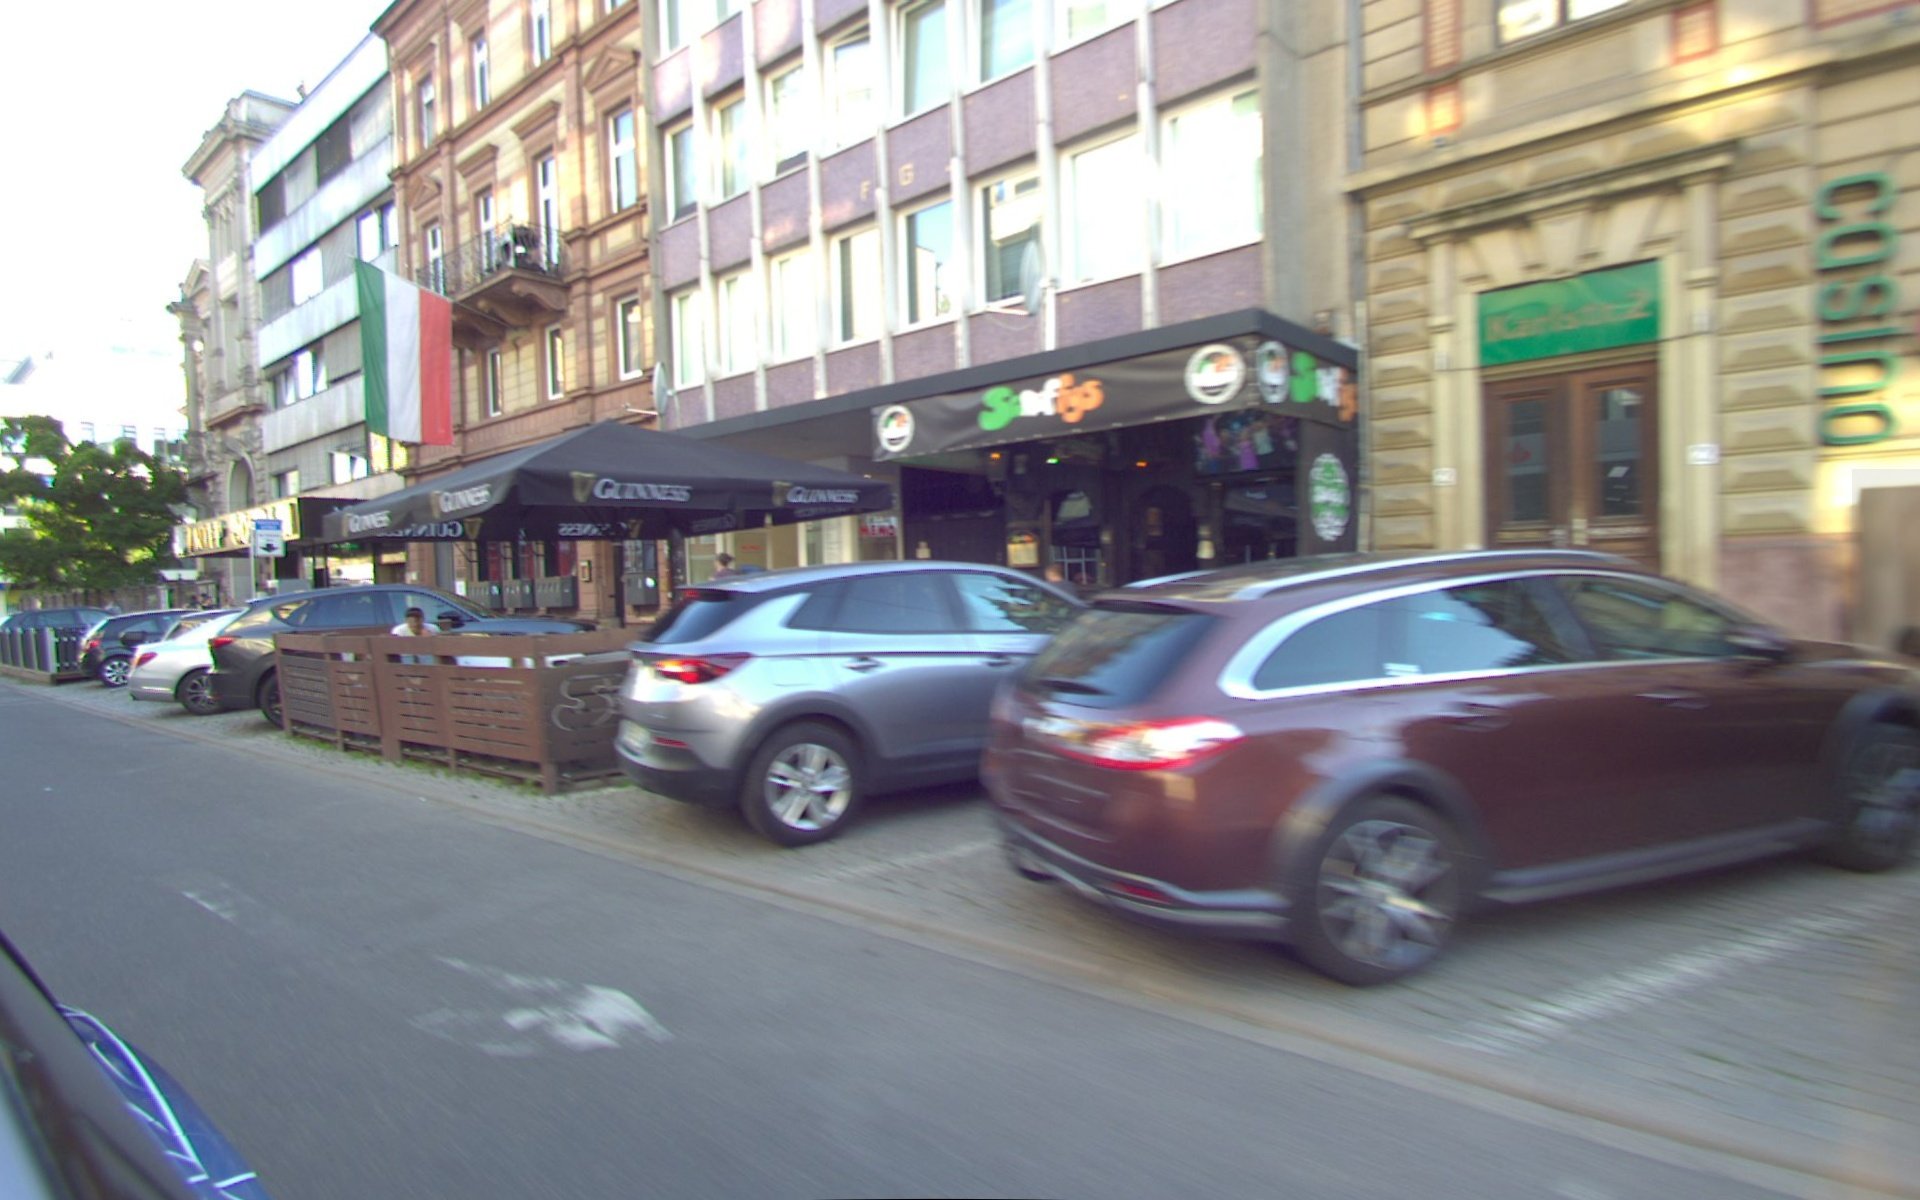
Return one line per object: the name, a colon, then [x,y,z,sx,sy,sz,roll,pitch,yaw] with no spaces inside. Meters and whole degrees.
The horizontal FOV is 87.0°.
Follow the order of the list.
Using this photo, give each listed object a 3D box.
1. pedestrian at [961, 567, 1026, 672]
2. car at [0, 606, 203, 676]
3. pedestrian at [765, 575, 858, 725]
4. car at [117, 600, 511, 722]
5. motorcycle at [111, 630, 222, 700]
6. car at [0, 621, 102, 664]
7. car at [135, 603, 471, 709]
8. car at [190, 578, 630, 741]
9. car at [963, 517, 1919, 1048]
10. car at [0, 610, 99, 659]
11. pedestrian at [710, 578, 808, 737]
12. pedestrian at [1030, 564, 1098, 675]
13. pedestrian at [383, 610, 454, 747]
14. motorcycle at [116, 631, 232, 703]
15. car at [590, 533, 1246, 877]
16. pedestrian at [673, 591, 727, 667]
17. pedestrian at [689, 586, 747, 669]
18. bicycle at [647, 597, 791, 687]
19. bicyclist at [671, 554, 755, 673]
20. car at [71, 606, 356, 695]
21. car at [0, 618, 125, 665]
pedestrian: [0.438,0.244,13.160,0.575,1.318,0.566,-2,0,42]
car: [-25.648,1.166,30.184,4.767,1.787,1.911,-2,0,-41]
pedestrian: [-1.478,0.479,10.046,0.675,1.427,0.569,-2,0,41]
car: [-9.593,0.845,15.550,4.759,1.515,1.914,-2,0,-20]
motorcycle: [-14.677,1.188,18.754,1.561,1.166,0.459,-2,1,-34]
car: [-34.243,1.568,36.977,4.357,1.436,1.911,-2,0,-41]
car: [-11.400,0.908,17.999,4.759,1.515,1.914,-2,0,-28]
car: [-6.959,0.672,13.391,4.758,1.746,1.914,-2,0,-22]
car: [2.314,0.487,4.502,4.223,1.560,1.716,-2,1,-18]
car: [-40.868,1.524,44.603,4.357,1.977,1.911,-2,0,-41]
pedestrian: [-1.895,0.520,9.534,0.675,1.427,0.569,-2,0,41]
pedestrian: [1.269,0.230,12.375,0.575,1.318,0.566,-2,0,42]
pedestrian: [-5.931,0.838,11.087,0.567,1.427,0.542,-2,0,-38]
motorcycle: [-13.923,1.168,17.976,1.561,1.133,0.514,-2,1,-34]
car: [-0.240,0.473,6.891,3.983,1.640,1.859,-4,2,-28]
pedestrian: [-4.418,0.489,17.185,0.675,1.254,0.569,-2,0,41]
pedestrian: [-3.771,0.425,15.773,0.675,1.254,0.569,-2,0,41]
bicycle: [-3.352,0.552,13.953,2.177,1.123,0.758,-1,1,40]
bicyclist: [-3.410,0.172,13.983,0.812,1.571,0.758,-1,1,40]
car: [-16.198,1.018,22.158,1.909,1.579,4.771,-2,0,45]
car: [-31.636,1.430,34.851,4.357,1.436,1.911,-2,0,-41]
